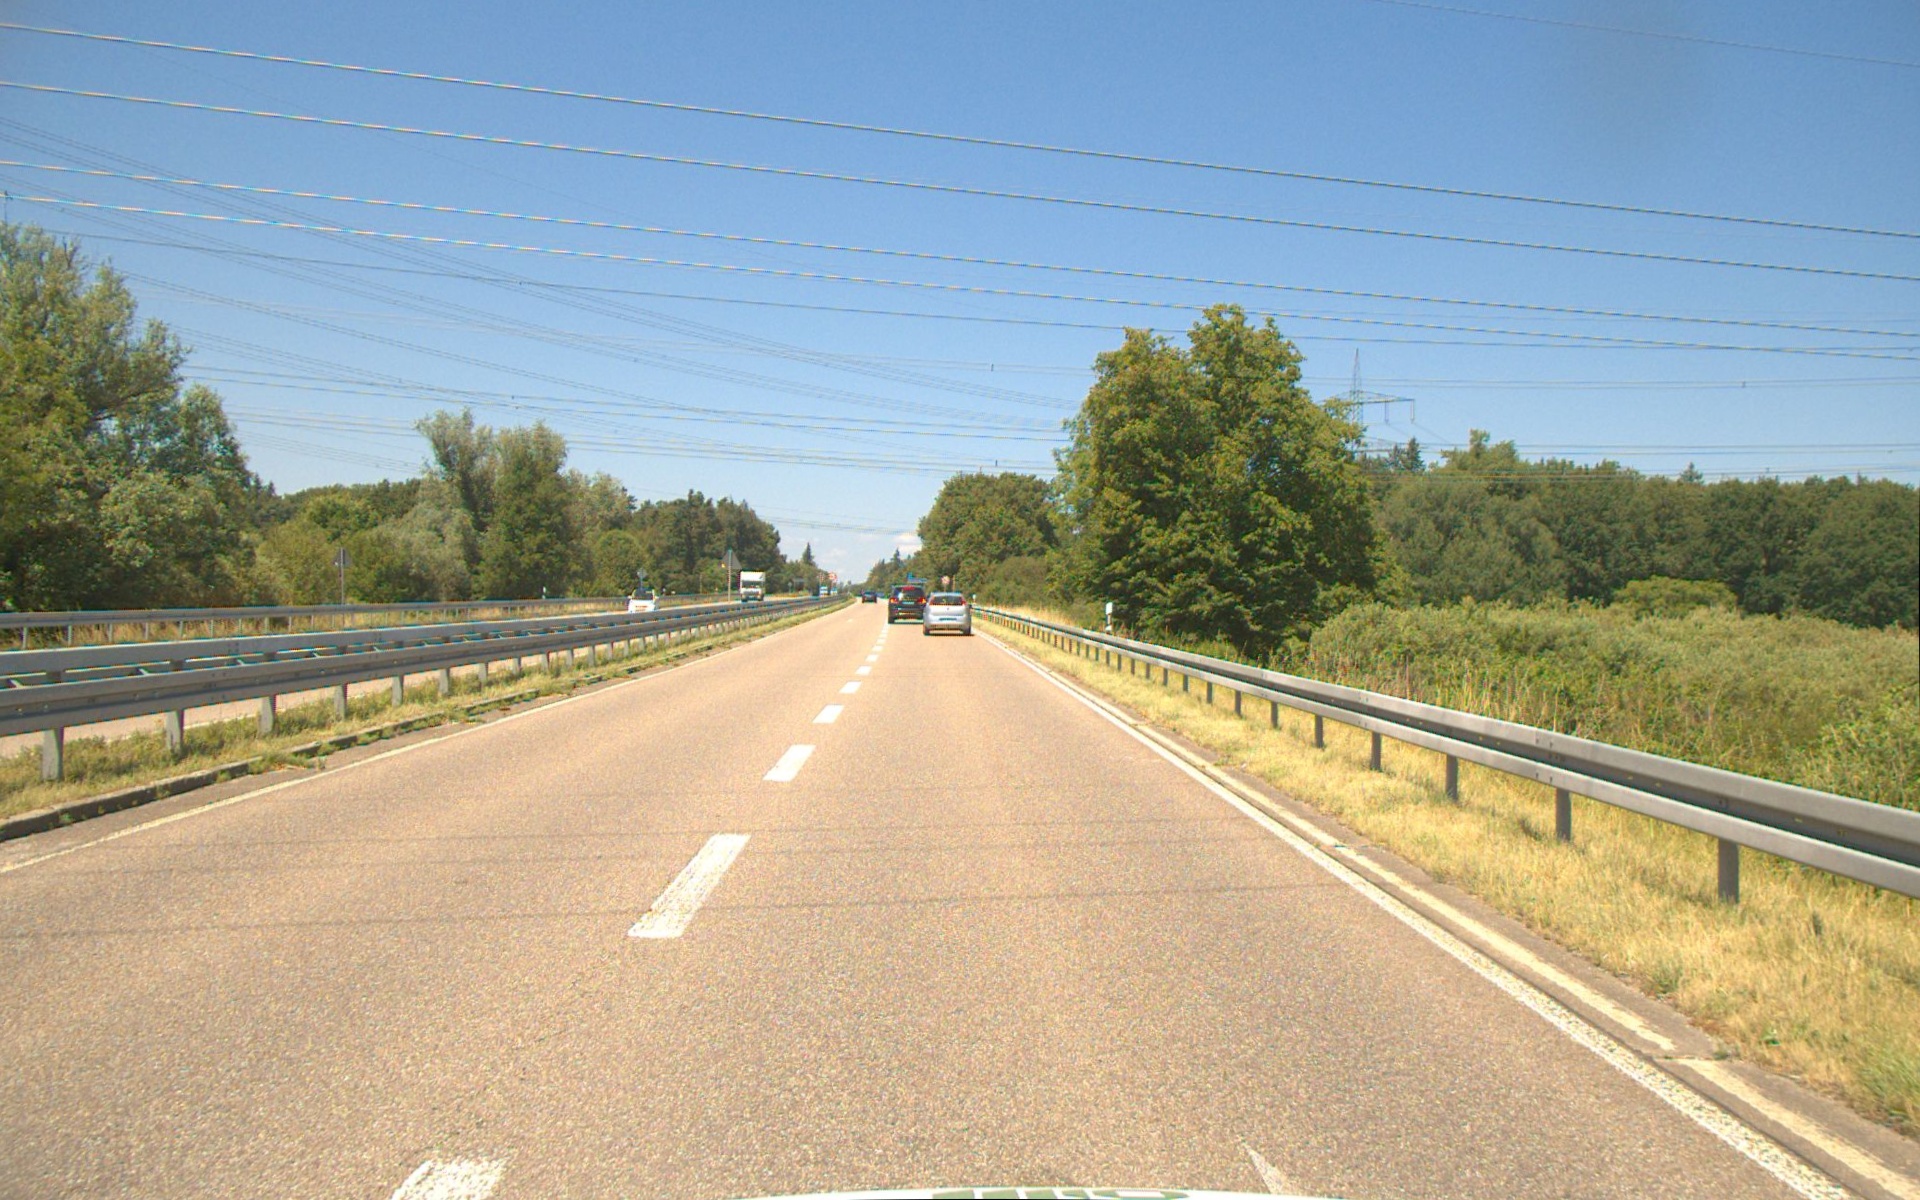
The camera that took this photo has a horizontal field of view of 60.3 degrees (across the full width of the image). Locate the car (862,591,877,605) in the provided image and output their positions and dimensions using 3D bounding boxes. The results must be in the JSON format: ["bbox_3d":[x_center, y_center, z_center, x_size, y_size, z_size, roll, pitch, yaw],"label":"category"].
[{"bbox_3d":[-10.721,-0.245,194.971,1.678,1.497,3.571,3,0,-3],"label":"car"}]

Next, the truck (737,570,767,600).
[{"bbox_3d":[-23.052,-1.620,183.696,2.664,3.249,8.401,0,0,-2],"label":"truck"}]

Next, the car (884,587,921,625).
[{"bbox_3d":[-2.696,0.266,77.404,1.607,1.682,3.572,3,0,-3],"label":"car"}]

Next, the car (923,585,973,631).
[{"bbox_3d":[-0.439,0.259,58.258,1.607,1.493,3.417,3,0,-2],"label":"car"}]

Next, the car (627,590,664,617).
[{"bbox_3d":[-17.855,0.190,94.010,1.502,1.475,3.700,1,0,-2],"label":"car"}]
